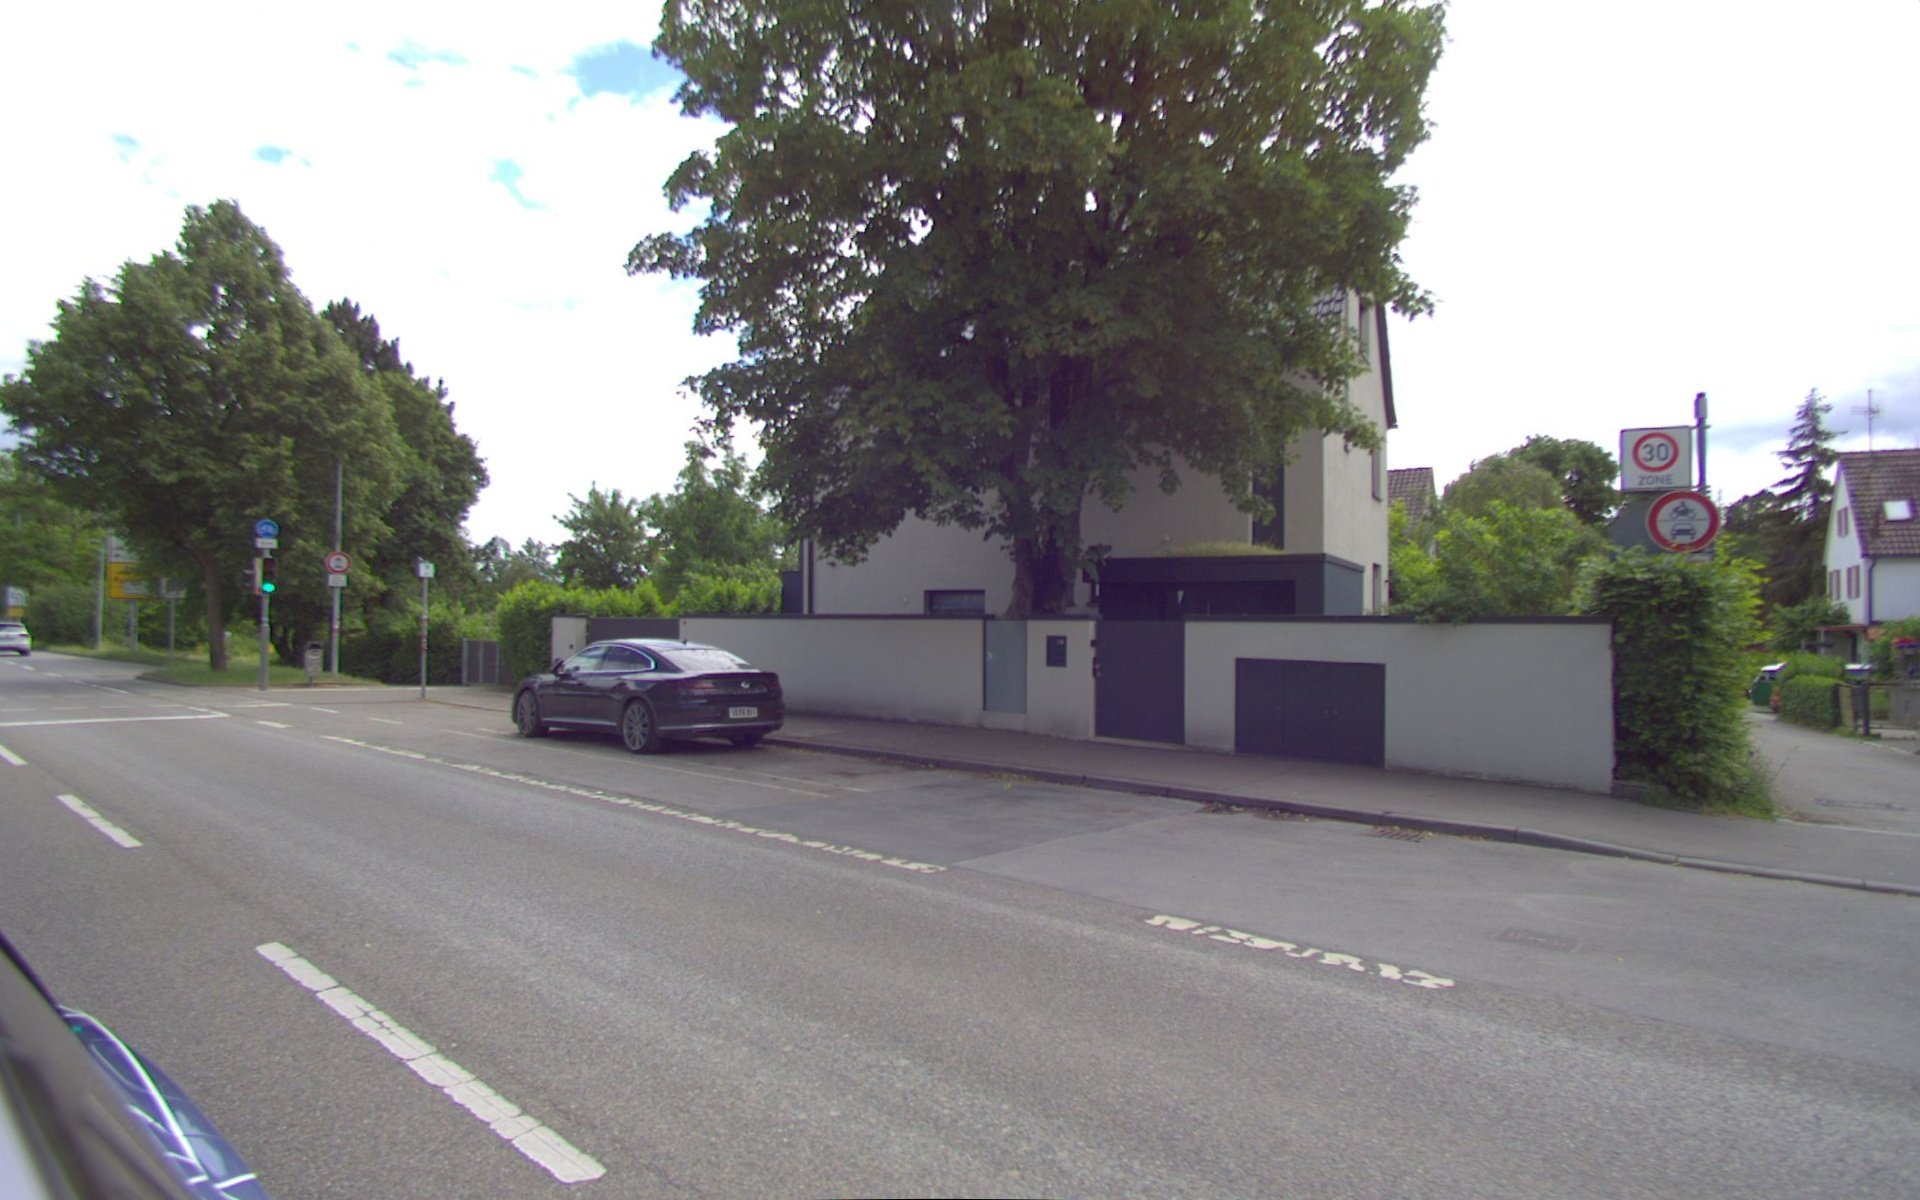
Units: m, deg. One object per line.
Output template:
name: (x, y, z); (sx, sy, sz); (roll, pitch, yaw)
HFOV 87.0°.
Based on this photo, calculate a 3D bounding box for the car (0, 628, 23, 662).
car: (-47.403, 2.177, 49.601); (3.998, 1.644, 1.763); (-1, -2, 42)

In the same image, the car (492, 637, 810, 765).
car: (-4.336, 1.249, 13.734); (4.924, 1.419, 1.728); (-1, -4, 41)
